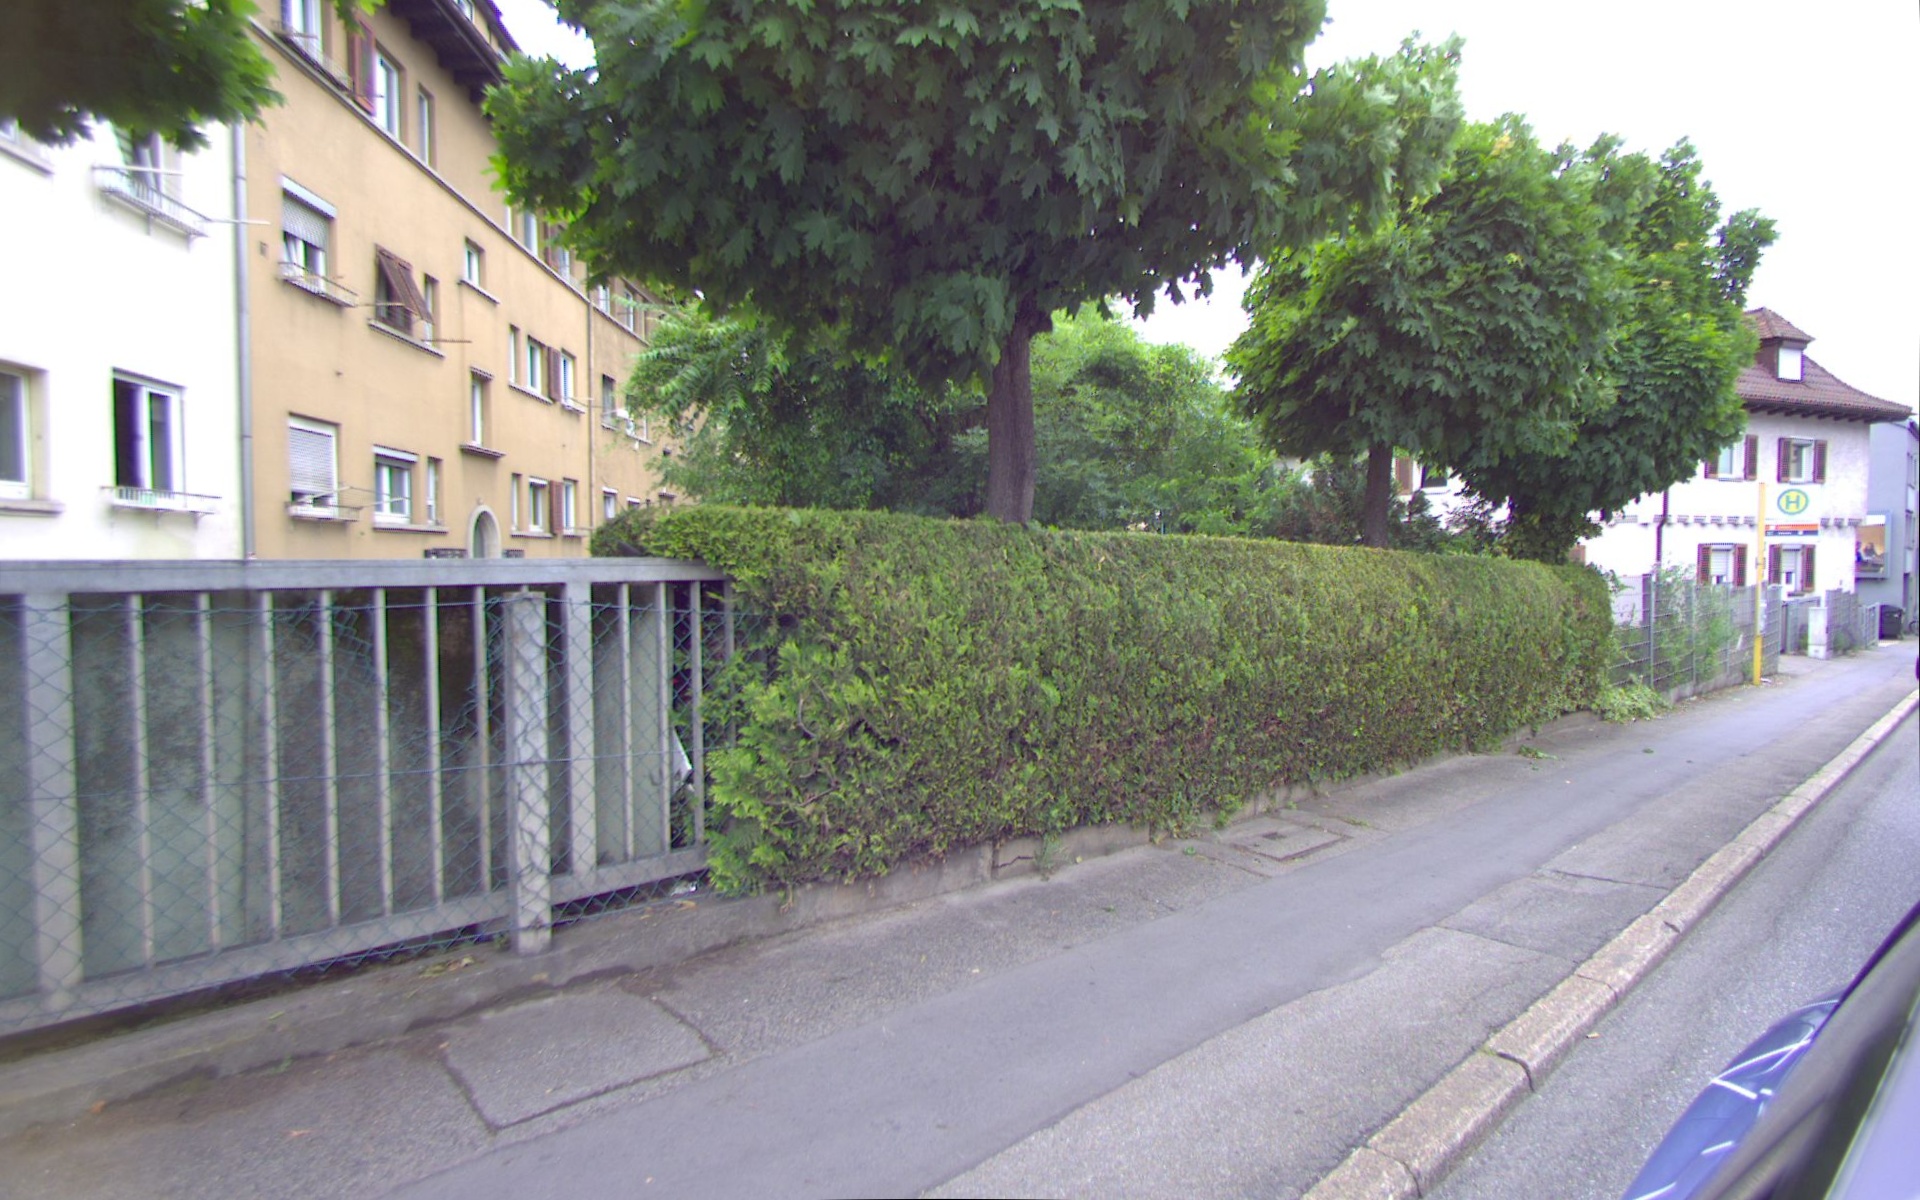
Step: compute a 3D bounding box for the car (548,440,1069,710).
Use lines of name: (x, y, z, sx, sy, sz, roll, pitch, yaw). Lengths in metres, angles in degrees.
car: (-0.962, -0.159, 7.326, 3.381, 1.478, 1.698, -1, 0, -43)
